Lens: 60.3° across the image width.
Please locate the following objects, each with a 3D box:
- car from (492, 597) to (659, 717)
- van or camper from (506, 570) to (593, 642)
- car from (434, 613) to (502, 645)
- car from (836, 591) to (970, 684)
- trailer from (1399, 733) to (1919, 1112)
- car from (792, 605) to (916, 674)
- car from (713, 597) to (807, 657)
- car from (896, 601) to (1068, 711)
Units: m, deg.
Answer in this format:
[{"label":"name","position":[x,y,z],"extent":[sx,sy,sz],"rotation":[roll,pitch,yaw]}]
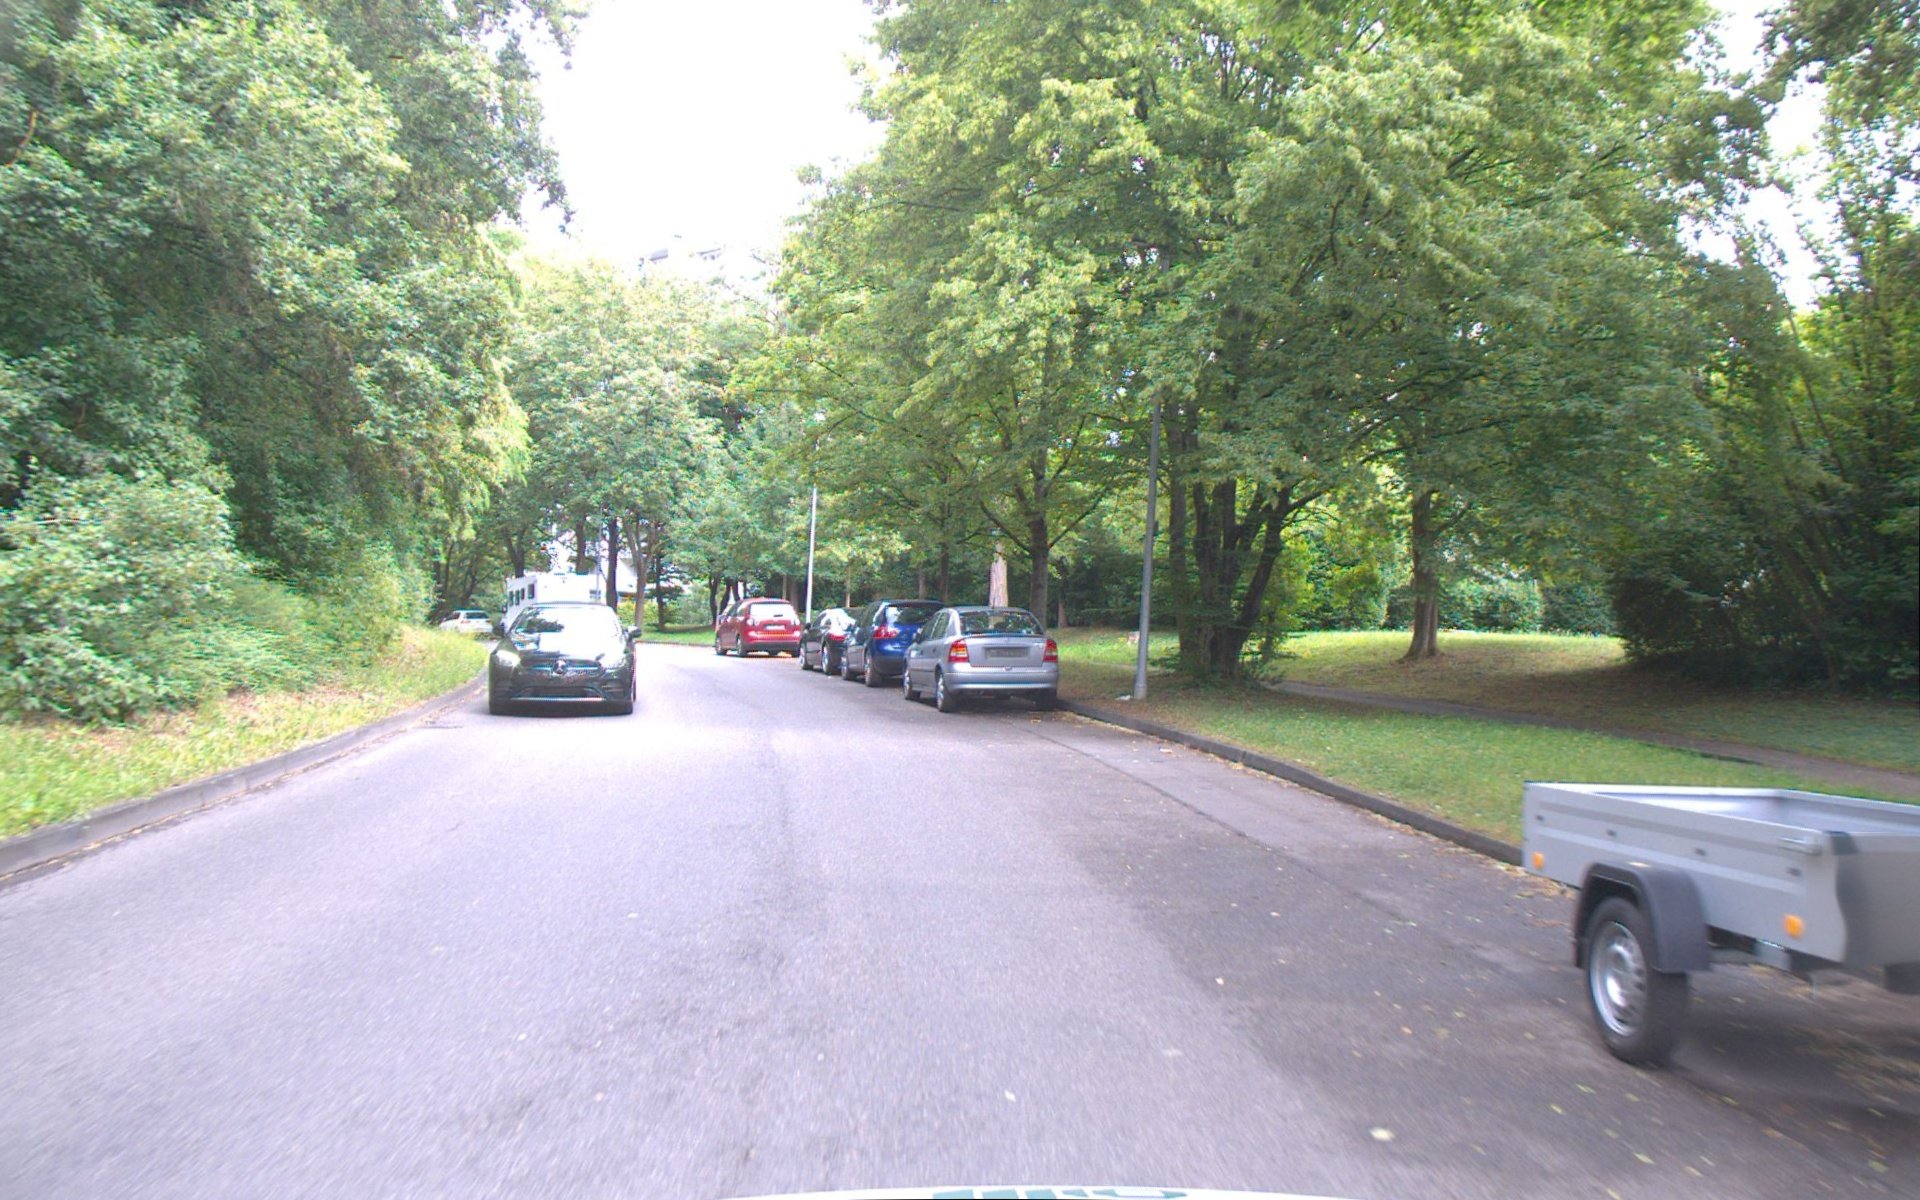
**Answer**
[{"label":"car","position":[-5.174,0.747,22.754],"extent":[1.757,1.413,4.483],"rotation":[3,-1,-8]},{"label":"van or camper","position":[-18.118,0.250,72.808],"extent":[2.404,3.060,5.155],"rotation":[0,0,-31]},{"label":"car","position":[-25.011,1.459,83.957],"extent":[1.980,1.499,3.945],"rotation":[3,-2,-38]},{"label":"car","position":[-1.130,0.677,30.676],"extent":[1.684,1.536,4.167],"rotation":[3,-1,-13]},{"label":"trailer","position":[2.895,1.070,6.380],"extent":[1.336,0.862,3.276],"rotation":[2,-1,-4]},{"label":"car","position":[-2.330,0.806,35.275],"extent":[1.722,1.360,4.396],"rotation":[1,-1,-16]},{"label":"car","position":[-5.566,0.746,45.675],"extent":[1.713,1.590,3.975],"rotation":[0,-1,-21]},{"label":"car","position":[0.230,0.765,24.116],"extent":[1.687,1.456,3.936],"rotation":[0,-1,-12]}]
